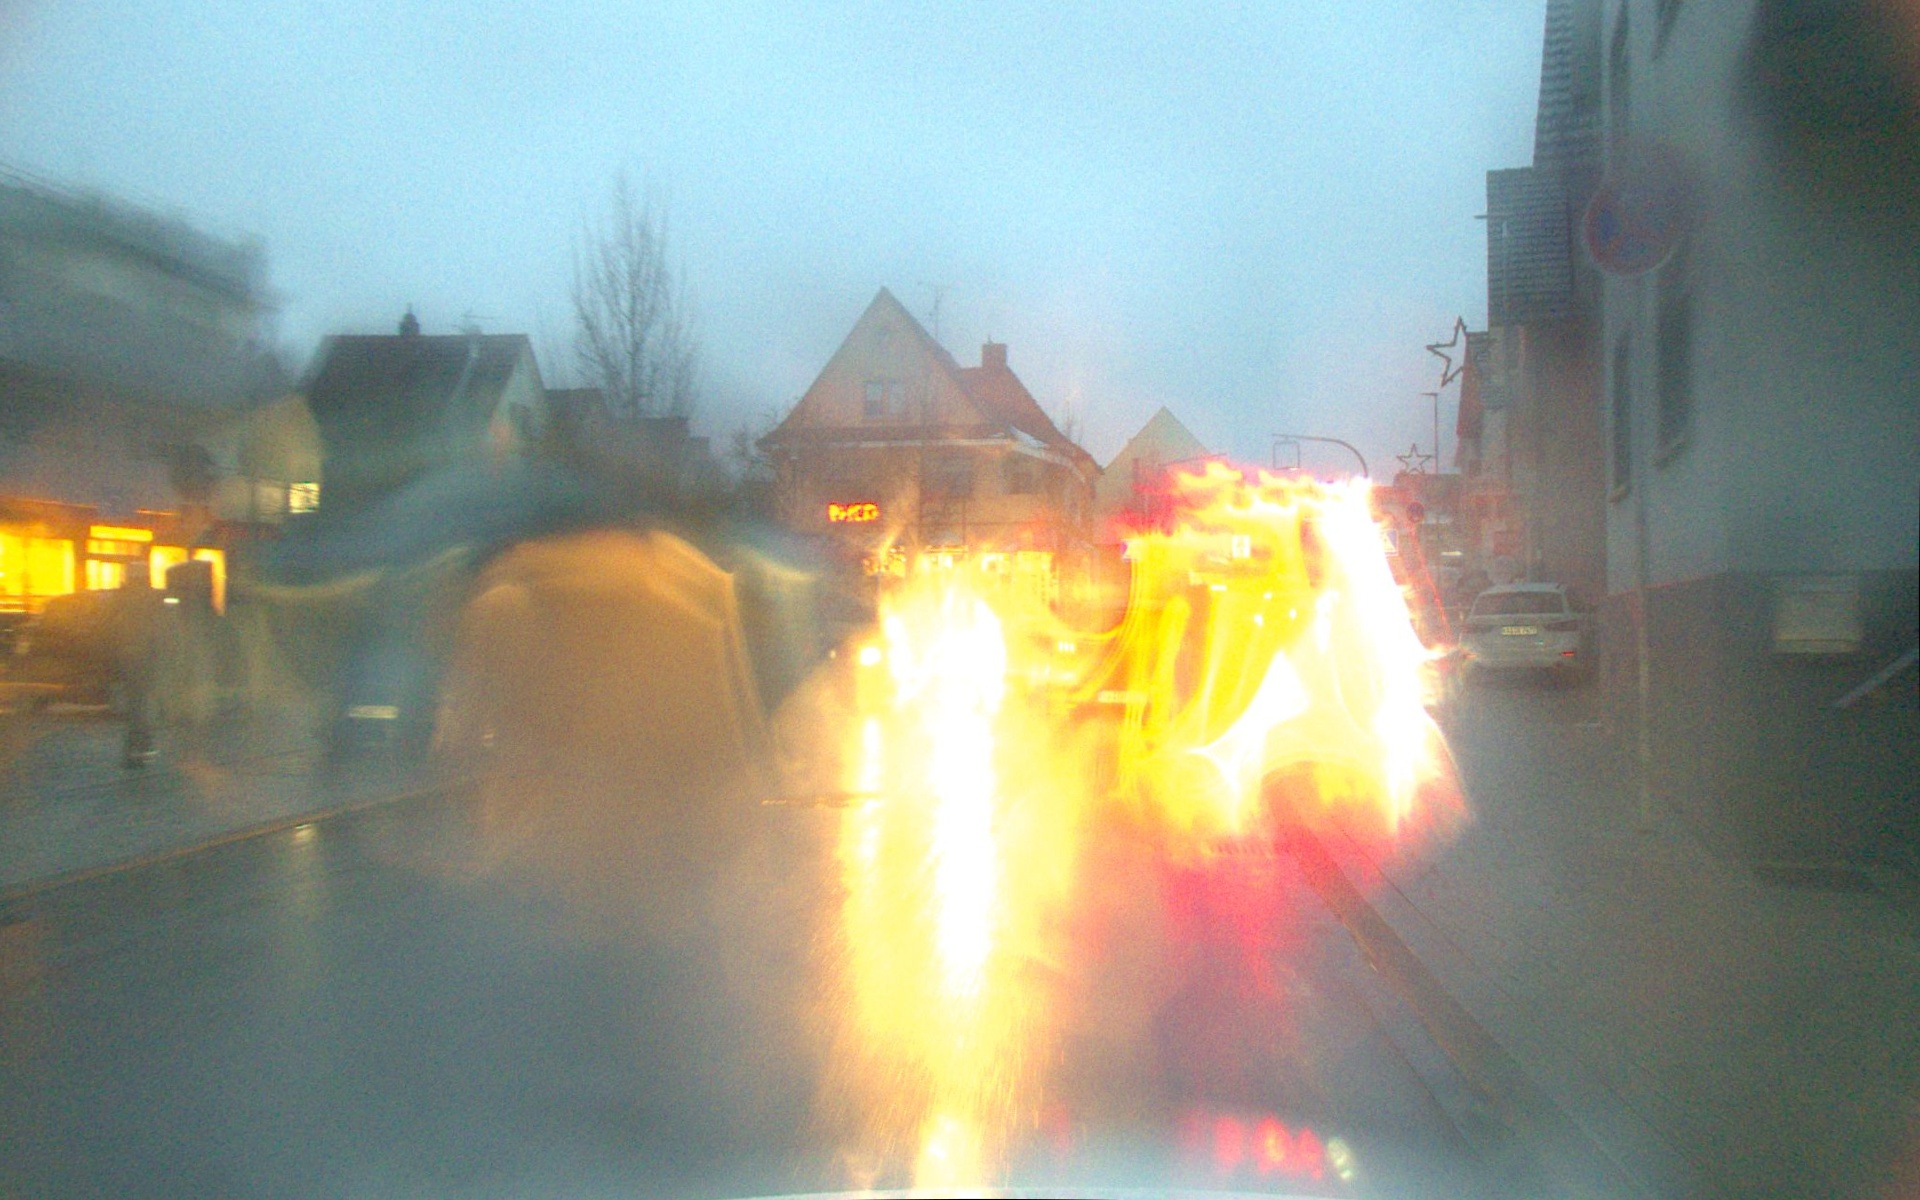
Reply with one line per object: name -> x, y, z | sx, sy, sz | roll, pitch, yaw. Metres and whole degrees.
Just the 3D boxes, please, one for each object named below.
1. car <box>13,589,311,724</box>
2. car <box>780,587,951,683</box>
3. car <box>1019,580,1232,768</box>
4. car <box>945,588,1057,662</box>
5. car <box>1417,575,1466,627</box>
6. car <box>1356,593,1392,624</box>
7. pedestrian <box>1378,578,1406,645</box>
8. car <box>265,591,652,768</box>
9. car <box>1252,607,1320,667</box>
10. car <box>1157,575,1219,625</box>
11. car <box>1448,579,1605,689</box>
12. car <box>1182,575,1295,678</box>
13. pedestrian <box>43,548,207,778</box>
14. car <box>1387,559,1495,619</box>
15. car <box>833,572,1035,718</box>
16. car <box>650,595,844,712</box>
car -> -9.959, 0.679, 20.538 | 4.009, 1.503, 1.732 | -2, 0, 38
car -> -1.598, 0.585, 29.647 | 1.711, 1.543, 4.345 | 2, 0, 15
car -> 1.988, 0.701, 18.539 | 1.951, 1.827, 4.652 | 0, 1, 11
car -> 0.993, 0.534, 37.695 | 1.634, 1.543, 4.003 | 2, 0, 14
car -> 19.679, 0.026, 67.671 | 1.606, 2.049, 4.004 | -2, 0, 12
car -> 19.837, 0.410, 79.144 | 1.502, 1.267, 3.650 | -5, 0, 16
pedestrian -> 12.521, 0.338, 47.926 | 0.649, 1.921, 0.824 | 1, -1, 21
car -> -4.794, 0.681, 16.568 | 1.709, 1.498, 4.462 | 1, 0, 13
car -> 8.514, 0.930, 43.014 | 1.614, 1.467, 3.869 | -1, 0, 13
car -> 9.620, -0.003, 69.570 | 1.951, 2.049, 4.364 | 0, 0, 17
car -> 8.661, 0.462, 25.055 | 1.846, 1.492, 4.541 | -2, 0, 24
car -> 5.058, 0.448, 29.673 | 1.759, 1.691, 4.003 | 1, 0, 13
pedestrian -> -7.178, 0.520, 14.260 | 0.738, 1.899, 1.061 | 0, 0, 15
car -> 17.174, -0.391, 59.010 | 3.619, 2.049, 1.690 | 1, -1, 18
car -> -0.244, 0.569, 23.911 | 2.095, 1.893, 4.747 | 0, 0, 9
car -> -3.030, 0.714, 24.270 | 1.656, 1.543, 3.776 | 1, 0, 12
